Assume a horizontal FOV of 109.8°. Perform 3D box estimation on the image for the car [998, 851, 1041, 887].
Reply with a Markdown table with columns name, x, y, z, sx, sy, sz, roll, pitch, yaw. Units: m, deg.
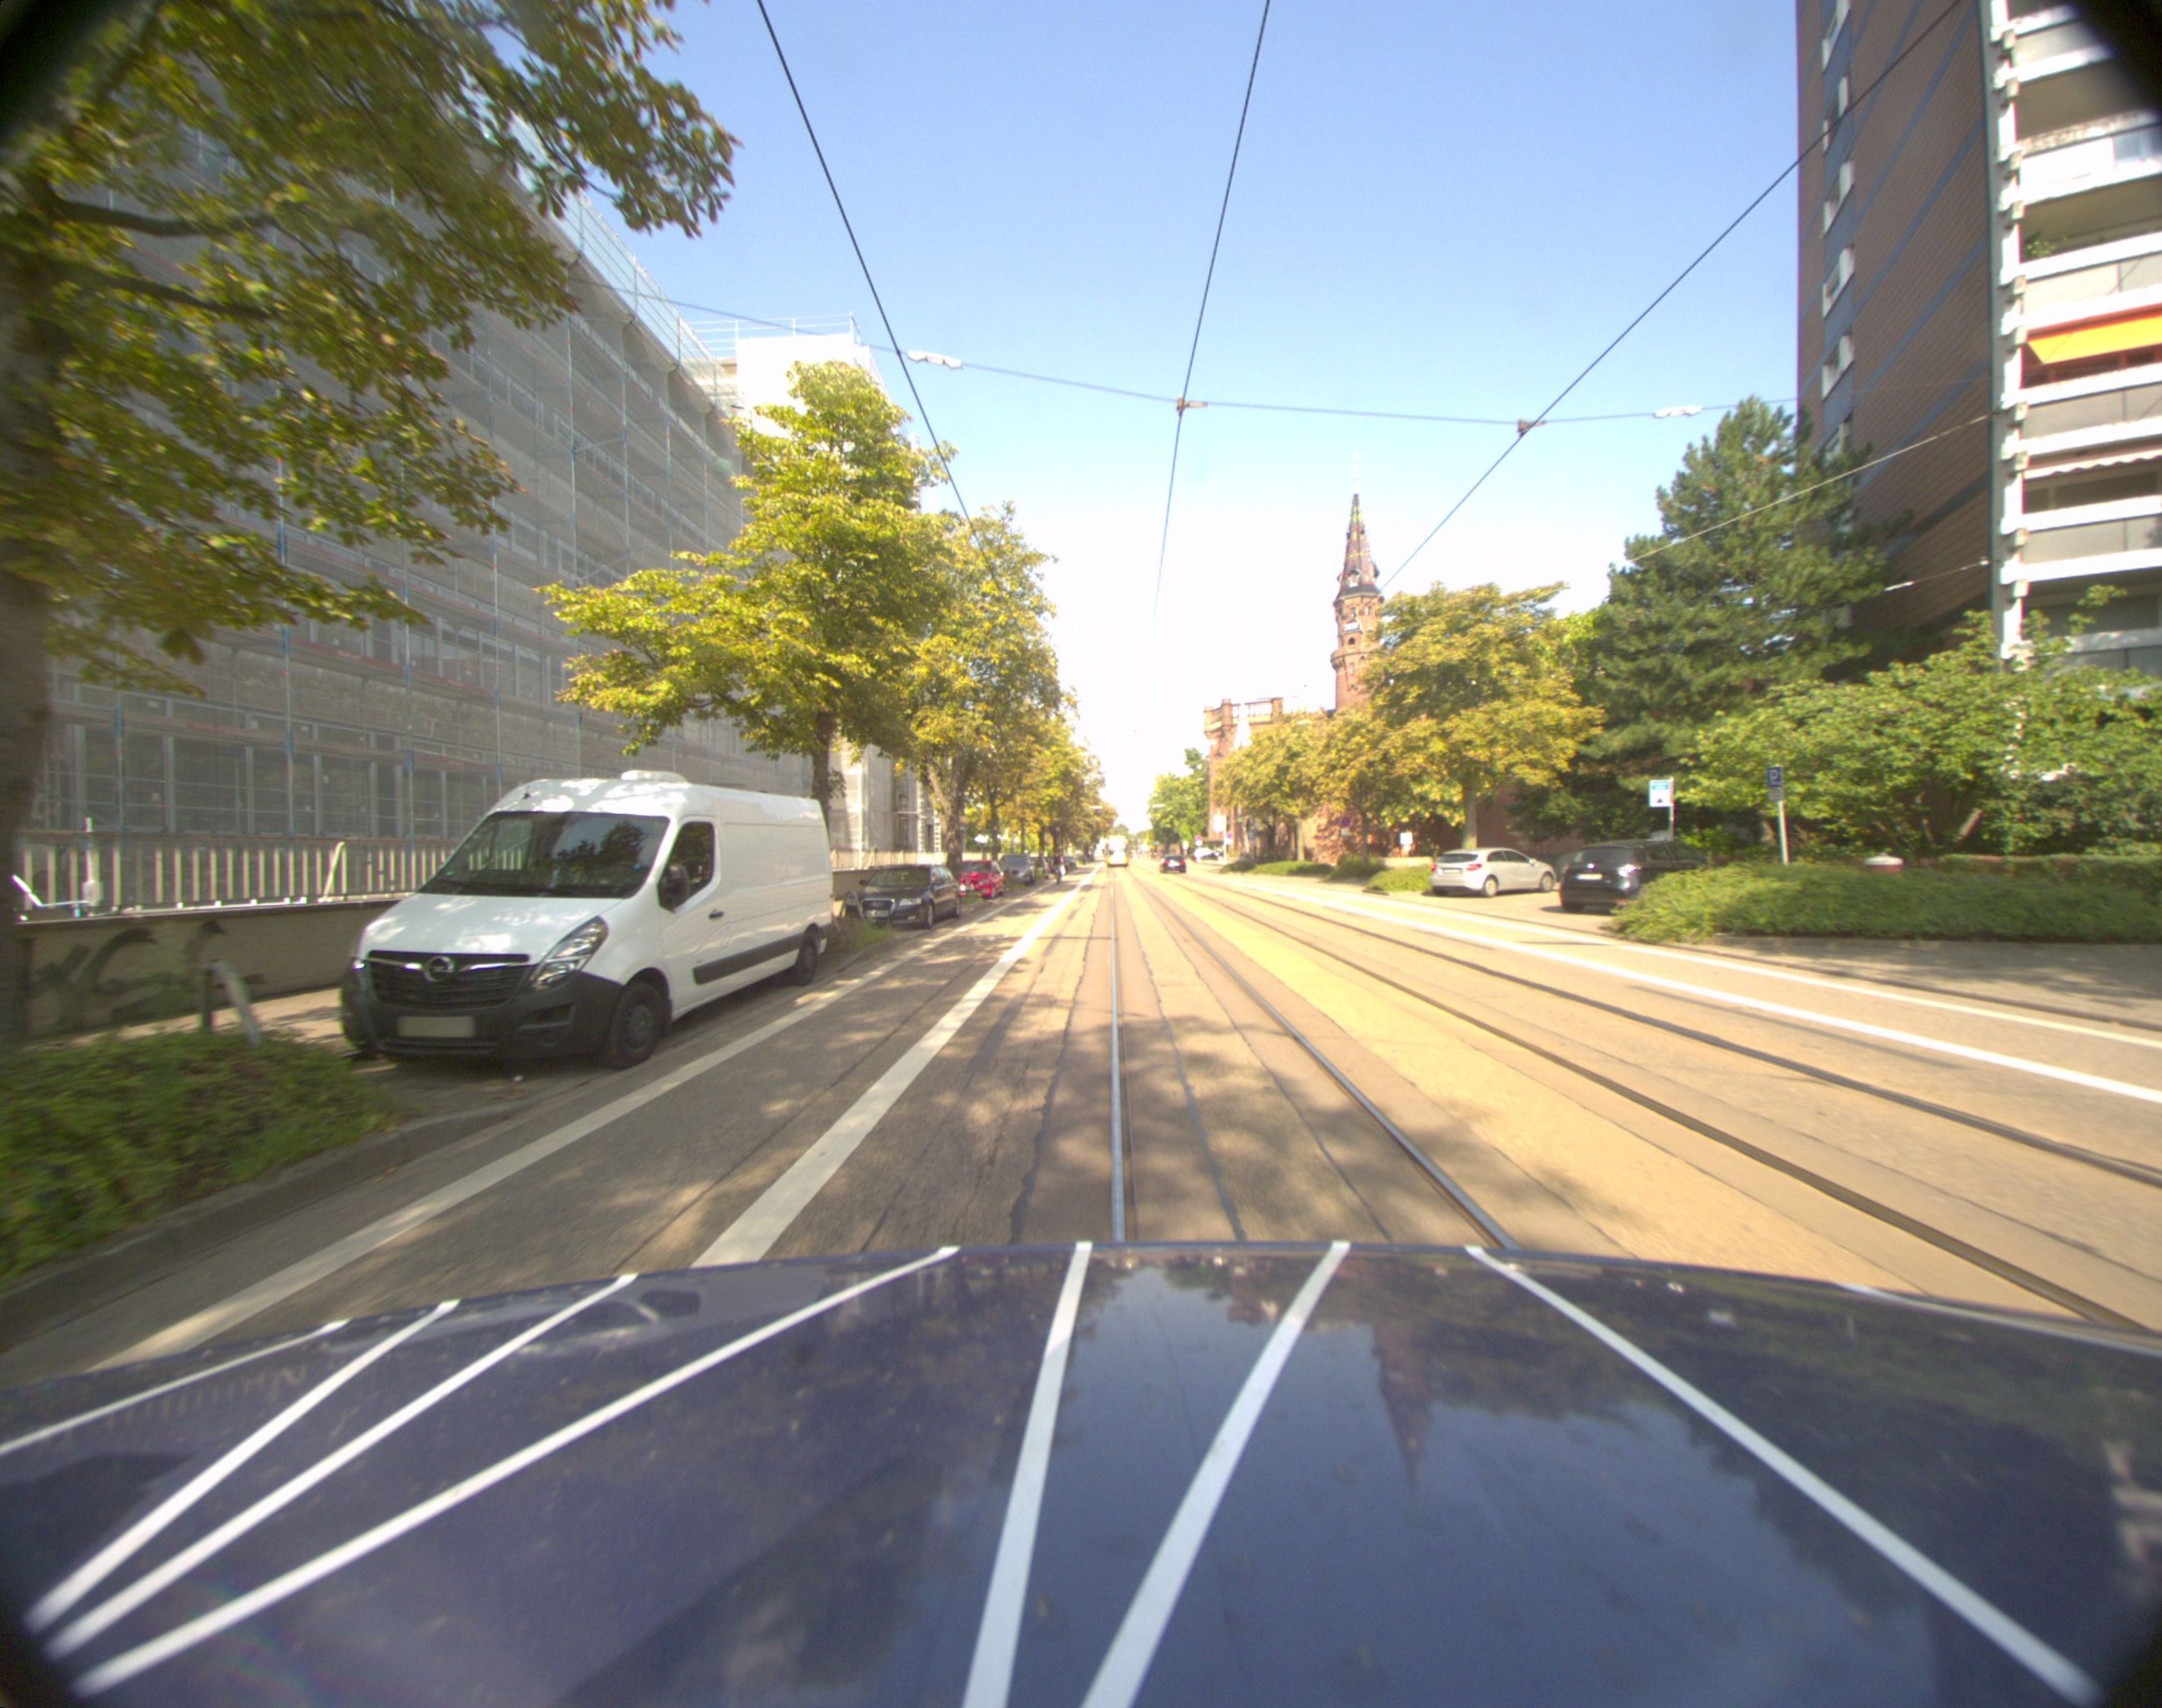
| name | x | y | z | sx | sy | sz | roll | pitch | yaw |
| --- | --- | --- | --- | --- | --- | --- | --- | --- | --- |
| car | -3.072 | 0.718 | 39.011 | 1.757 | 1.681 | 4.396 | -2 | 0 | 1 |

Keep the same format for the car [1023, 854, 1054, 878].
| name | x | y | z | sx | sy | sz | roll | pitch | yaw |
| --- | --- | --- | --- | --- | --- | --- | --- | --- | --- |
| car | -2.734 | 0.746 | 49.526 | 1.579 | 1.476 | 3.739 | 1 | 0 | 3 |

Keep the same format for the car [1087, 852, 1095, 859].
| name | x | y | z | sx | sy | sz | roll | pitch | yaw |
| --- | --- | --- | --- | --- | --- | --- | --- | --- | --- |
| car | 2.110 | 0.252 | 163.303 | 1.566 | 1.433 | 3.563 | 2 | 1 | 0 |

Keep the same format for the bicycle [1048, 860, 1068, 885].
| name | x | y | z | sx | sy | sz | roll | pitch | yaw |
| --- | --- | --- | --- | --- | --- | --- | --- | --- | --- |
| bicycle | -1.169 | 0.930 | 38.930 | 0.788 | 1.138 | 2.305 | -1 | 1 | 4 |

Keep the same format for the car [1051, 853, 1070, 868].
| name | x | y | z | sx | sy | sz | roll | pitch | yaw |
| --- | --- | --- | --- | --- | --- | --- | --- | --- | --- |
| car | -1.989 | 0.605 | 73.842 | 1.650 | 1.420 | 4.085 | 1 | 1 | 1 |

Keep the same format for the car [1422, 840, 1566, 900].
| name | x | y | z | sx | sy | sz | roll | pitch | yaw |
| --- | --- | --- | --- | --- | --- | --- | --- | --- | --- |
| car | 12.467 | 0.445 | 22.910 | 4.005 | 1.471 | 1.785 | -4 | 1 | -27 |

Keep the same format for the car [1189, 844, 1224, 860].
| name | x | y | z | sx | sy | sz | roll | pitch | yaw |
| --- | --- | --- | --- | --- | --- | --- | --- | --- | --- |
| car | 16.678 | -0.254 | 101.131 | 4.407 | 1.636 | 1.957 | -5 | 0 | 3 |

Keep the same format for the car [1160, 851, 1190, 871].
| name | x | y | z | sx | sy | sz | roll | pitch | yaw |
| --- | --- | --- | --- | --- | --- | --- | --- | --- | --- |
| car | 7.044 | 0.497 | 57.586 | 1.833 | 1.368 | 4.512 | 0 | 1 | 2 |

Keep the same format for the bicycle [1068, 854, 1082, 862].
| name | x | y | z | sx | sy | sz | roll | pitch | yaw |
| --- | --- | --- | --- | --- | --- | --- | --- | --- | --- |
| bicycle | -0.826 | 0.520 | 104.999 | 1.773 | 1.058 | 0.796 | 1 | 1 | 0 |

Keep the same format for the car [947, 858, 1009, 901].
| name | x | y | z | sx | sy | sz | roll | pitch | yaw |
| --- | --- | --- | --- | --- | --- | --- | --- | --- | --- |
| car | -3.787 | 0.907 | 28.522 | 1.620 | 1.405 | 4.000 | 0 | 1 | 3 |

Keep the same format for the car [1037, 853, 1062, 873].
| name | x | y | z | sx | sy | sz | roll | pitch | yaw |
| --- | --- | --- | --- | --- | --- | --- | --- | --- | --- |
| car | -2.514 | 0.694 | 61.581 | 1.650 | 1.502 | 3.778 | 1 | 1 | 3 |

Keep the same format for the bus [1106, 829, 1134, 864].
| name | x | y | z | sx | sy | sz | roll | pitch | yaw |
| --- | --- | --- | --- | --- | --- | --- | --- | --- | --- |
| bus | 4.591 | -0.886 | 88.406 | 2.900 | 3.771 | 9.321 | -1 | 1 | 5 |

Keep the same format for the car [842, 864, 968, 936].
| name | x | y | z | sx | sy | sz | roll | pitch | yaw |
| --- | --- | --- | --- | --- | --- | --- | --- | --- | --- |
| car | -3.992 | 0.991 | 18.060 | 1.620 | 1.366 | 4.828 | 0 | 1 | 3 |

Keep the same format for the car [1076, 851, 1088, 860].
| name | x | y | z | sx | sy | sz | roll | pitch | yaw |
| --- | --- | --- | --- | --- | --- | --- | --- | --- | --- |
| car | 0.182 | 0.243 | 122.908 | 1.745 | 1.477 | 4.437 | 0 | 0 | 1 |

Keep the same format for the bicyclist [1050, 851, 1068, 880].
| name | x | y | z | sx | sy | sz | roll | pitch | yaw |
| --- | --- | --- | --- | --- | --- | --- | --- | --- | --- |
| bicyclist | -1.151 | 0.576 | 39.343 | 0.788 | 1.461 | 1.116 | -1 | 1 | 4 |

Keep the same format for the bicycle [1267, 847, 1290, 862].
| name | x | y | z | sx | sy | sz | roll | pitch | yaw |
| --- | --- | --- | --- | --- | --- | --- | --- | --- | --- |
| bicycle | 16.594 | 0.072 | 63.846 | 1.809 | 1.068 | 0.420 | -6 | 2 | -20 |

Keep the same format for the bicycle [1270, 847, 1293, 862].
| name | x | y | z | sx | sy | sz | roll | pitch | yaw |
| --- | --- | --- | --- | --- | --- | --- | --- | --- | --- |
| bicycle | 16.744 | 0.030 | 63.405 | 1.809 | 1.068 | 0.420 | -6 | 2 | -20 |

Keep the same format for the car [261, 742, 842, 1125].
| name | x | y | z | sx | sy | sz | roll | pitch | yaw |
| --- | --- | --- | --- | --- | --- | --- | --- | --- | --- |
| car | -4.492 | 0.515 | 7.929 | 2.087 | 2.538 | 5.501 | 2 | 1 | 1 |

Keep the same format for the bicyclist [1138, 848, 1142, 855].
| name | x | y | z | sx | sy | sz | roll | pitch | yaw |
| --- | --- | --- | --- | --- | --- | --- | --- | --- | --- |
| bicyclist | 15.110 | -0.663 | 194.320 | 0.699 | 1.572 | 1.087 | -2 | 2 | 0 |

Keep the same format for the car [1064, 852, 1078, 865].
| name | x | y | z | sx | sy | sz | roll | pitch | yaw |
| --- | --- | --- | --- | --- | --- | --- | --- | --- | --- |
| car | -1.207 | 0.547 | 92.604 | 1.644 | 1.421 | 3.988 | 0 | 1 | 1 |

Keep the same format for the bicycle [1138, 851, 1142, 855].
| name | x | y | z | sx | sy | sz | roll | pitch | yaw |
| --- | --- | --- | --- | --- | --- | --- | --- | --- | --- |
| bicycle | 15.113 | -0.229 | 194.357 | 0.699 | 1.151 | 2.037 | -1 | 1 | 0 |

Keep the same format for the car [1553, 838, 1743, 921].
| name | x | y | z | sx | sy | sz | roll | pitch | yaw |
| --- | --- | --- | --- | --- | --- | --- | --- | --- | --- |
| car | 12.187 | 0.498 | 16.332 | 3.649 | 1.506 | 1.618 | -3 | 1 | -23 |
